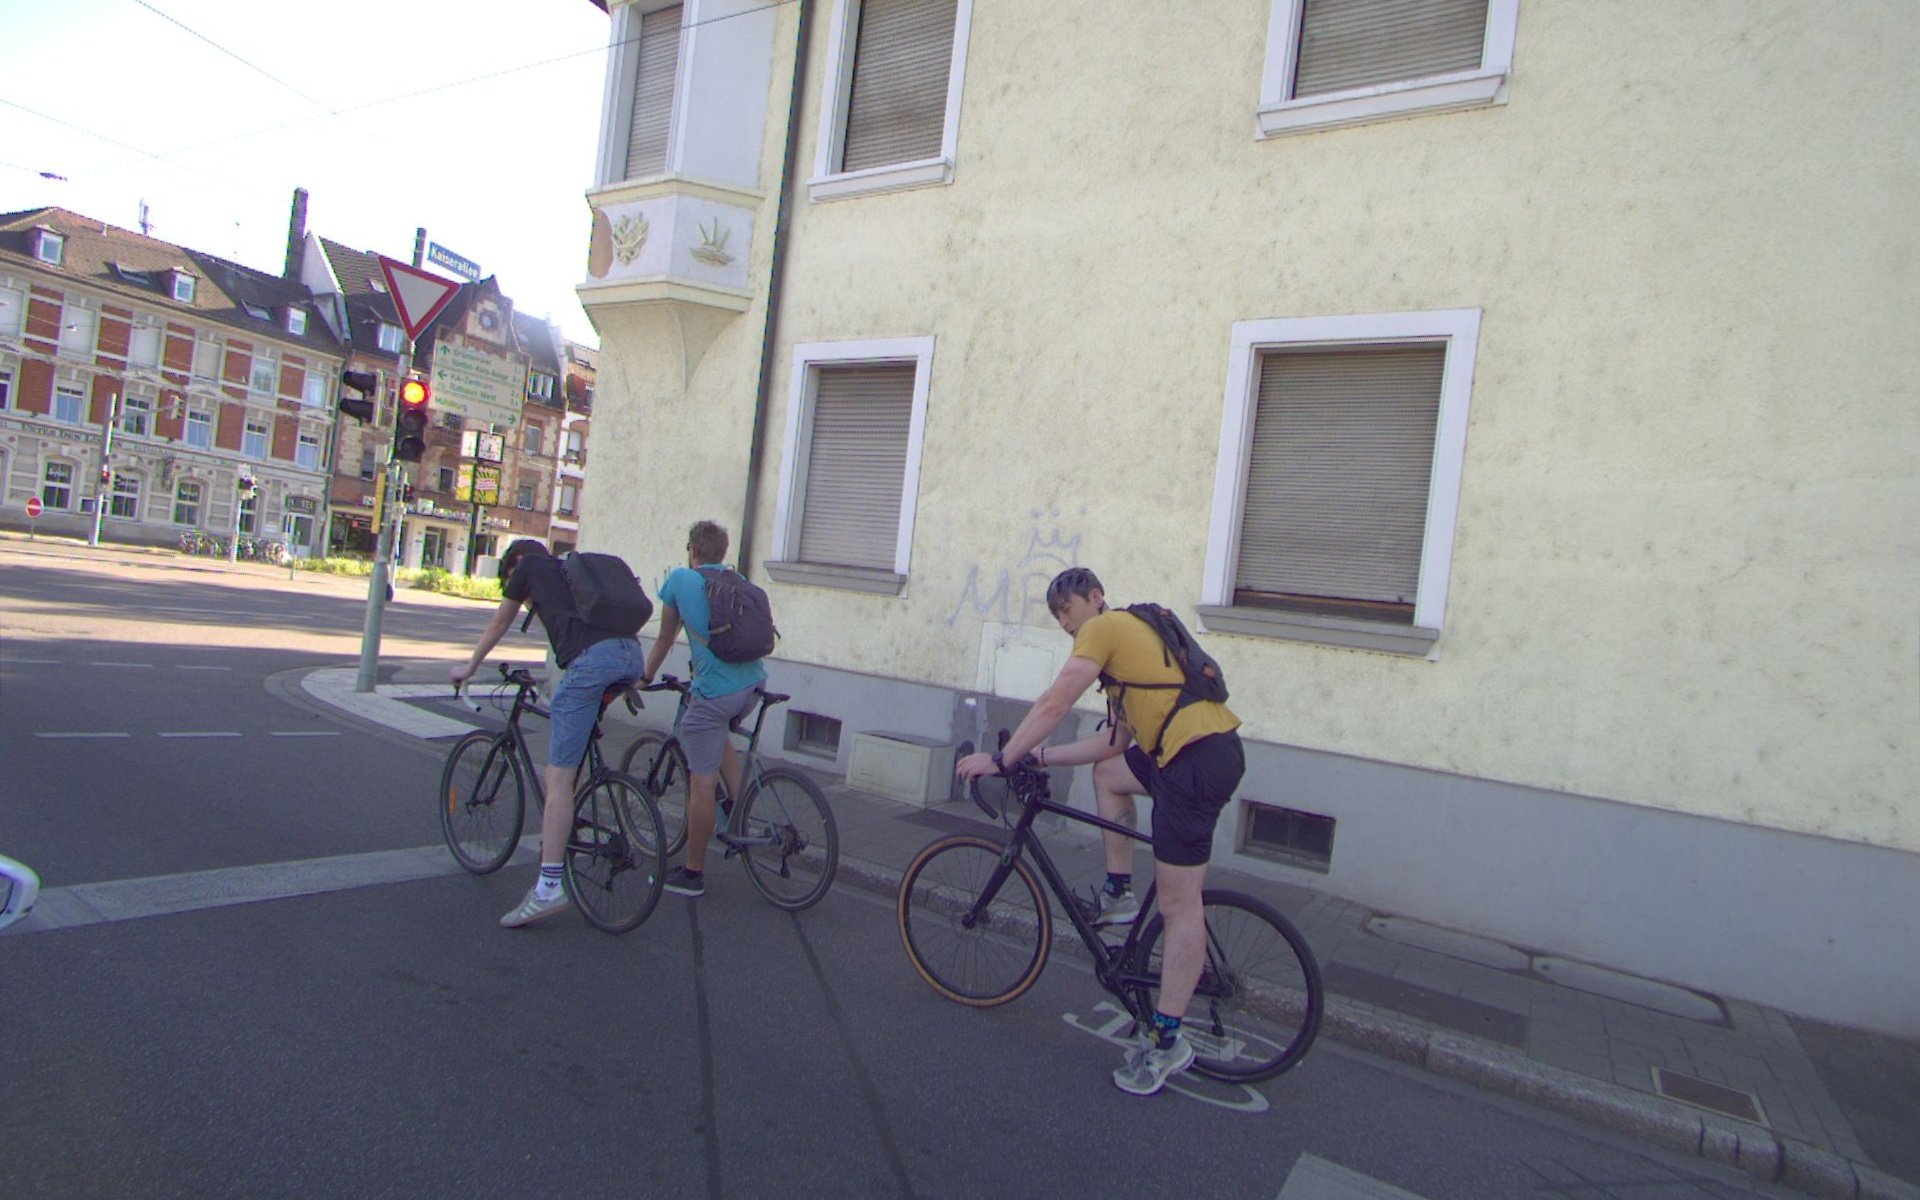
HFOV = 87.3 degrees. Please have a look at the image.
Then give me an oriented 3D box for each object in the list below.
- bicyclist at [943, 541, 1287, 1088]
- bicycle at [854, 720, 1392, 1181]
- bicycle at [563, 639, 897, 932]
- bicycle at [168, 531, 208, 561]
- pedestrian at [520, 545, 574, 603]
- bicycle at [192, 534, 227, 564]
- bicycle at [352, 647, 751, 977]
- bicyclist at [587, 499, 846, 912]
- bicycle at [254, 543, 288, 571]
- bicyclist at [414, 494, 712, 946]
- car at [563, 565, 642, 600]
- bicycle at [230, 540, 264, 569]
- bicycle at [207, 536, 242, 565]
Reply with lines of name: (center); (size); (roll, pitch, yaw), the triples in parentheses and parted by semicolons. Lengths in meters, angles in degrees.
bicyclist: (0.584, 0.713, 3.791); (0.939, 1.742, 0.582); (7, 0, 32)
bicycle: (0.551, 1.144, 3.760); (1.780, 1.101, 0.611); (7, 0, 32)
bicycle: (-1.254, 0.883, 5.274); (1.784, 1.130, 0.519); (7, 0, 34)
bicycle: (-35.053, -2.443, 45.676); (2.140, 1.157, 0.806); (7, 0, 37)
pedestrian: (-16.559, -1.038, 40.372); (1.285, 2.068, 1.321); (7, 0, 31)
bicycle: (-34.539, -2.354, 46.278); (2.140, 1.157, 0.618); (7, 0, 37)
bicycle: (-1.915, 0.852, 4.585); (1.897, 1.023, 0.645); (7, 0, 34)
bicyclist: (-1.270, 0.496, 5.240); (0.961, 1.917, 0.602); (6, -1, 34)
bicycle: (-33.105, -2.065, 48.311); (2.102, 1.150, 0.609); (7, 0, 37)
bicyclist: (-1.803, 0.470, 4.539); (1.083, 1.775, 0.562); (7, 0, 34)
car: (-23.160, -1.121, 65.316); (2.116, 1.660, 4.340); (7, -1, 31)
bicycle: (-33.670, -2.159, 47.507); (2.140, 1.157, 0.618); (7, 0, 37)
bicycle: (-34.203, -2.306, 46.755); (2.140, 1.157, 0.618); (7, 0, 37)
